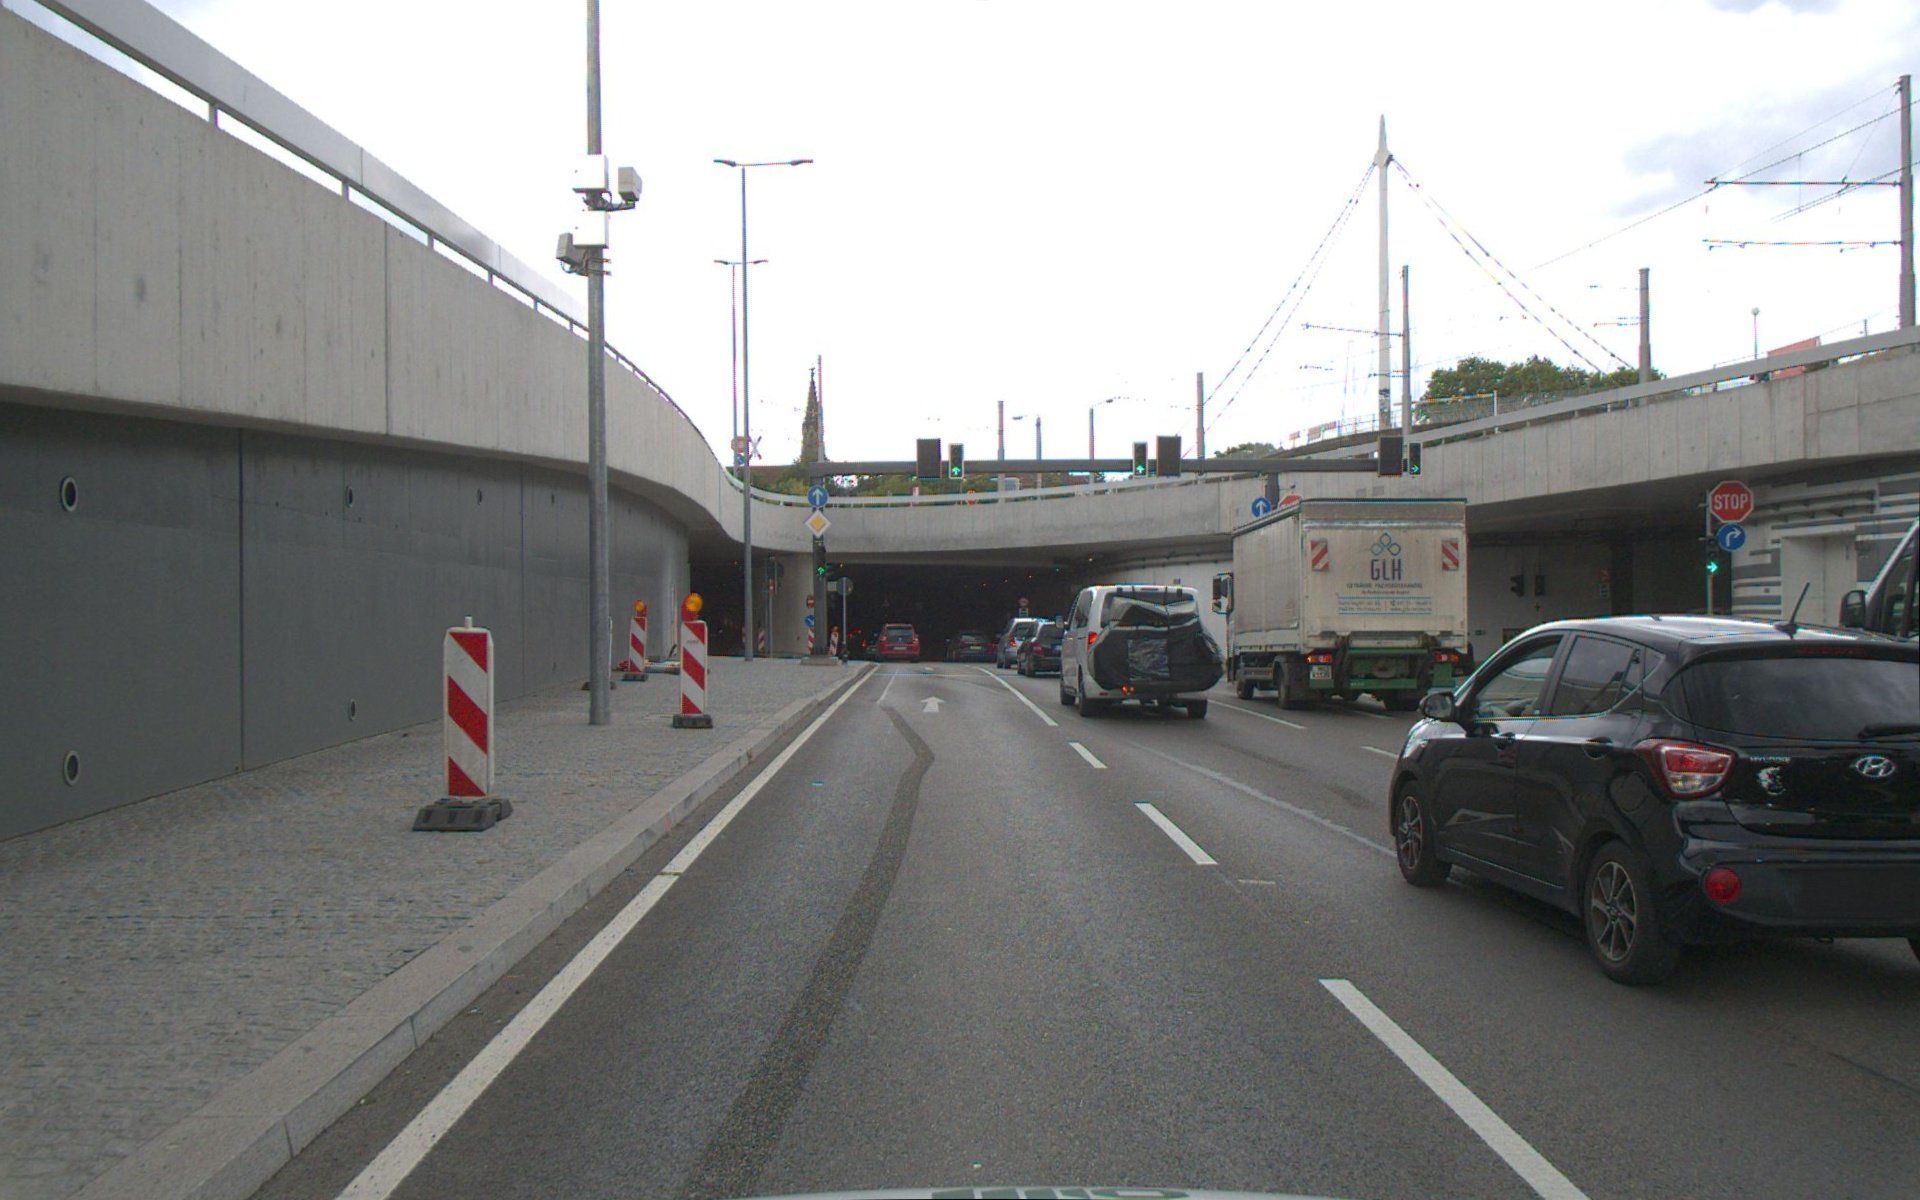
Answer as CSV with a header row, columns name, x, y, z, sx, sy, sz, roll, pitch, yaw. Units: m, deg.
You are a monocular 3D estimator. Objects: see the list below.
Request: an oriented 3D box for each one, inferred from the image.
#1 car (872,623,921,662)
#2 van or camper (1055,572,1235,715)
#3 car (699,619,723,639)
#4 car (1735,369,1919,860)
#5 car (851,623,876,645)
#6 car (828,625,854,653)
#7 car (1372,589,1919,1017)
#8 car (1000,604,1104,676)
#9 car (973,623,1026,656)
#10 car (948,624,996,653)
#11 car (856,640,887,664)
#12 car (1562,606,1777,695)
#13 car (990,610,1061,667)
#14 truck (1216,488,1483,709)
name,x,y,z,sx,sy,sz,roll,pitch,yaw
car,-2.568,1.708,66.322,1.629,1.514,3.560,0,-2,-8
van or camper,2.635,0.683,24.858,1.953,1.878,5.505,1,-2,-1
car,-18.074,2.094,120.186,1.633,1.466,4.106,0,0,-7
car,6.574,0.088,8.025,2.033,2.822,7.324,0,0,-2
car,-8.145,2.876,139.819,1.955,1.804,3.995,0,0,-6
car,-9.157,2.982,127.491,1.954,2.049,3.997,0,0,-4
car,3.389,0.754,8.014,1.648,1.572,3.690,1,0,-4
car,2.270,0.977,41.809,1.785,1.713,3.991,1,-1,-9
car,2.047,2.126,87.944,1.954,1.705,4.496,0,-2,-10
car,0.520,1.740,73.677,1.632,1.269,3.560,0,-2,-8
car,-4.922,2.867,91.592,1.480,1.269,3.560,0,-2,-8
car,12.630,0.903,29.773,1.952,1.426,4.466,-1,-2,0
car,2.024,1.194,52.212,1.783,1.608,3.997,4,-1,-3
truck,6.321,0.028,28.115,2.596,3.241,7.423,0,-1,-1
